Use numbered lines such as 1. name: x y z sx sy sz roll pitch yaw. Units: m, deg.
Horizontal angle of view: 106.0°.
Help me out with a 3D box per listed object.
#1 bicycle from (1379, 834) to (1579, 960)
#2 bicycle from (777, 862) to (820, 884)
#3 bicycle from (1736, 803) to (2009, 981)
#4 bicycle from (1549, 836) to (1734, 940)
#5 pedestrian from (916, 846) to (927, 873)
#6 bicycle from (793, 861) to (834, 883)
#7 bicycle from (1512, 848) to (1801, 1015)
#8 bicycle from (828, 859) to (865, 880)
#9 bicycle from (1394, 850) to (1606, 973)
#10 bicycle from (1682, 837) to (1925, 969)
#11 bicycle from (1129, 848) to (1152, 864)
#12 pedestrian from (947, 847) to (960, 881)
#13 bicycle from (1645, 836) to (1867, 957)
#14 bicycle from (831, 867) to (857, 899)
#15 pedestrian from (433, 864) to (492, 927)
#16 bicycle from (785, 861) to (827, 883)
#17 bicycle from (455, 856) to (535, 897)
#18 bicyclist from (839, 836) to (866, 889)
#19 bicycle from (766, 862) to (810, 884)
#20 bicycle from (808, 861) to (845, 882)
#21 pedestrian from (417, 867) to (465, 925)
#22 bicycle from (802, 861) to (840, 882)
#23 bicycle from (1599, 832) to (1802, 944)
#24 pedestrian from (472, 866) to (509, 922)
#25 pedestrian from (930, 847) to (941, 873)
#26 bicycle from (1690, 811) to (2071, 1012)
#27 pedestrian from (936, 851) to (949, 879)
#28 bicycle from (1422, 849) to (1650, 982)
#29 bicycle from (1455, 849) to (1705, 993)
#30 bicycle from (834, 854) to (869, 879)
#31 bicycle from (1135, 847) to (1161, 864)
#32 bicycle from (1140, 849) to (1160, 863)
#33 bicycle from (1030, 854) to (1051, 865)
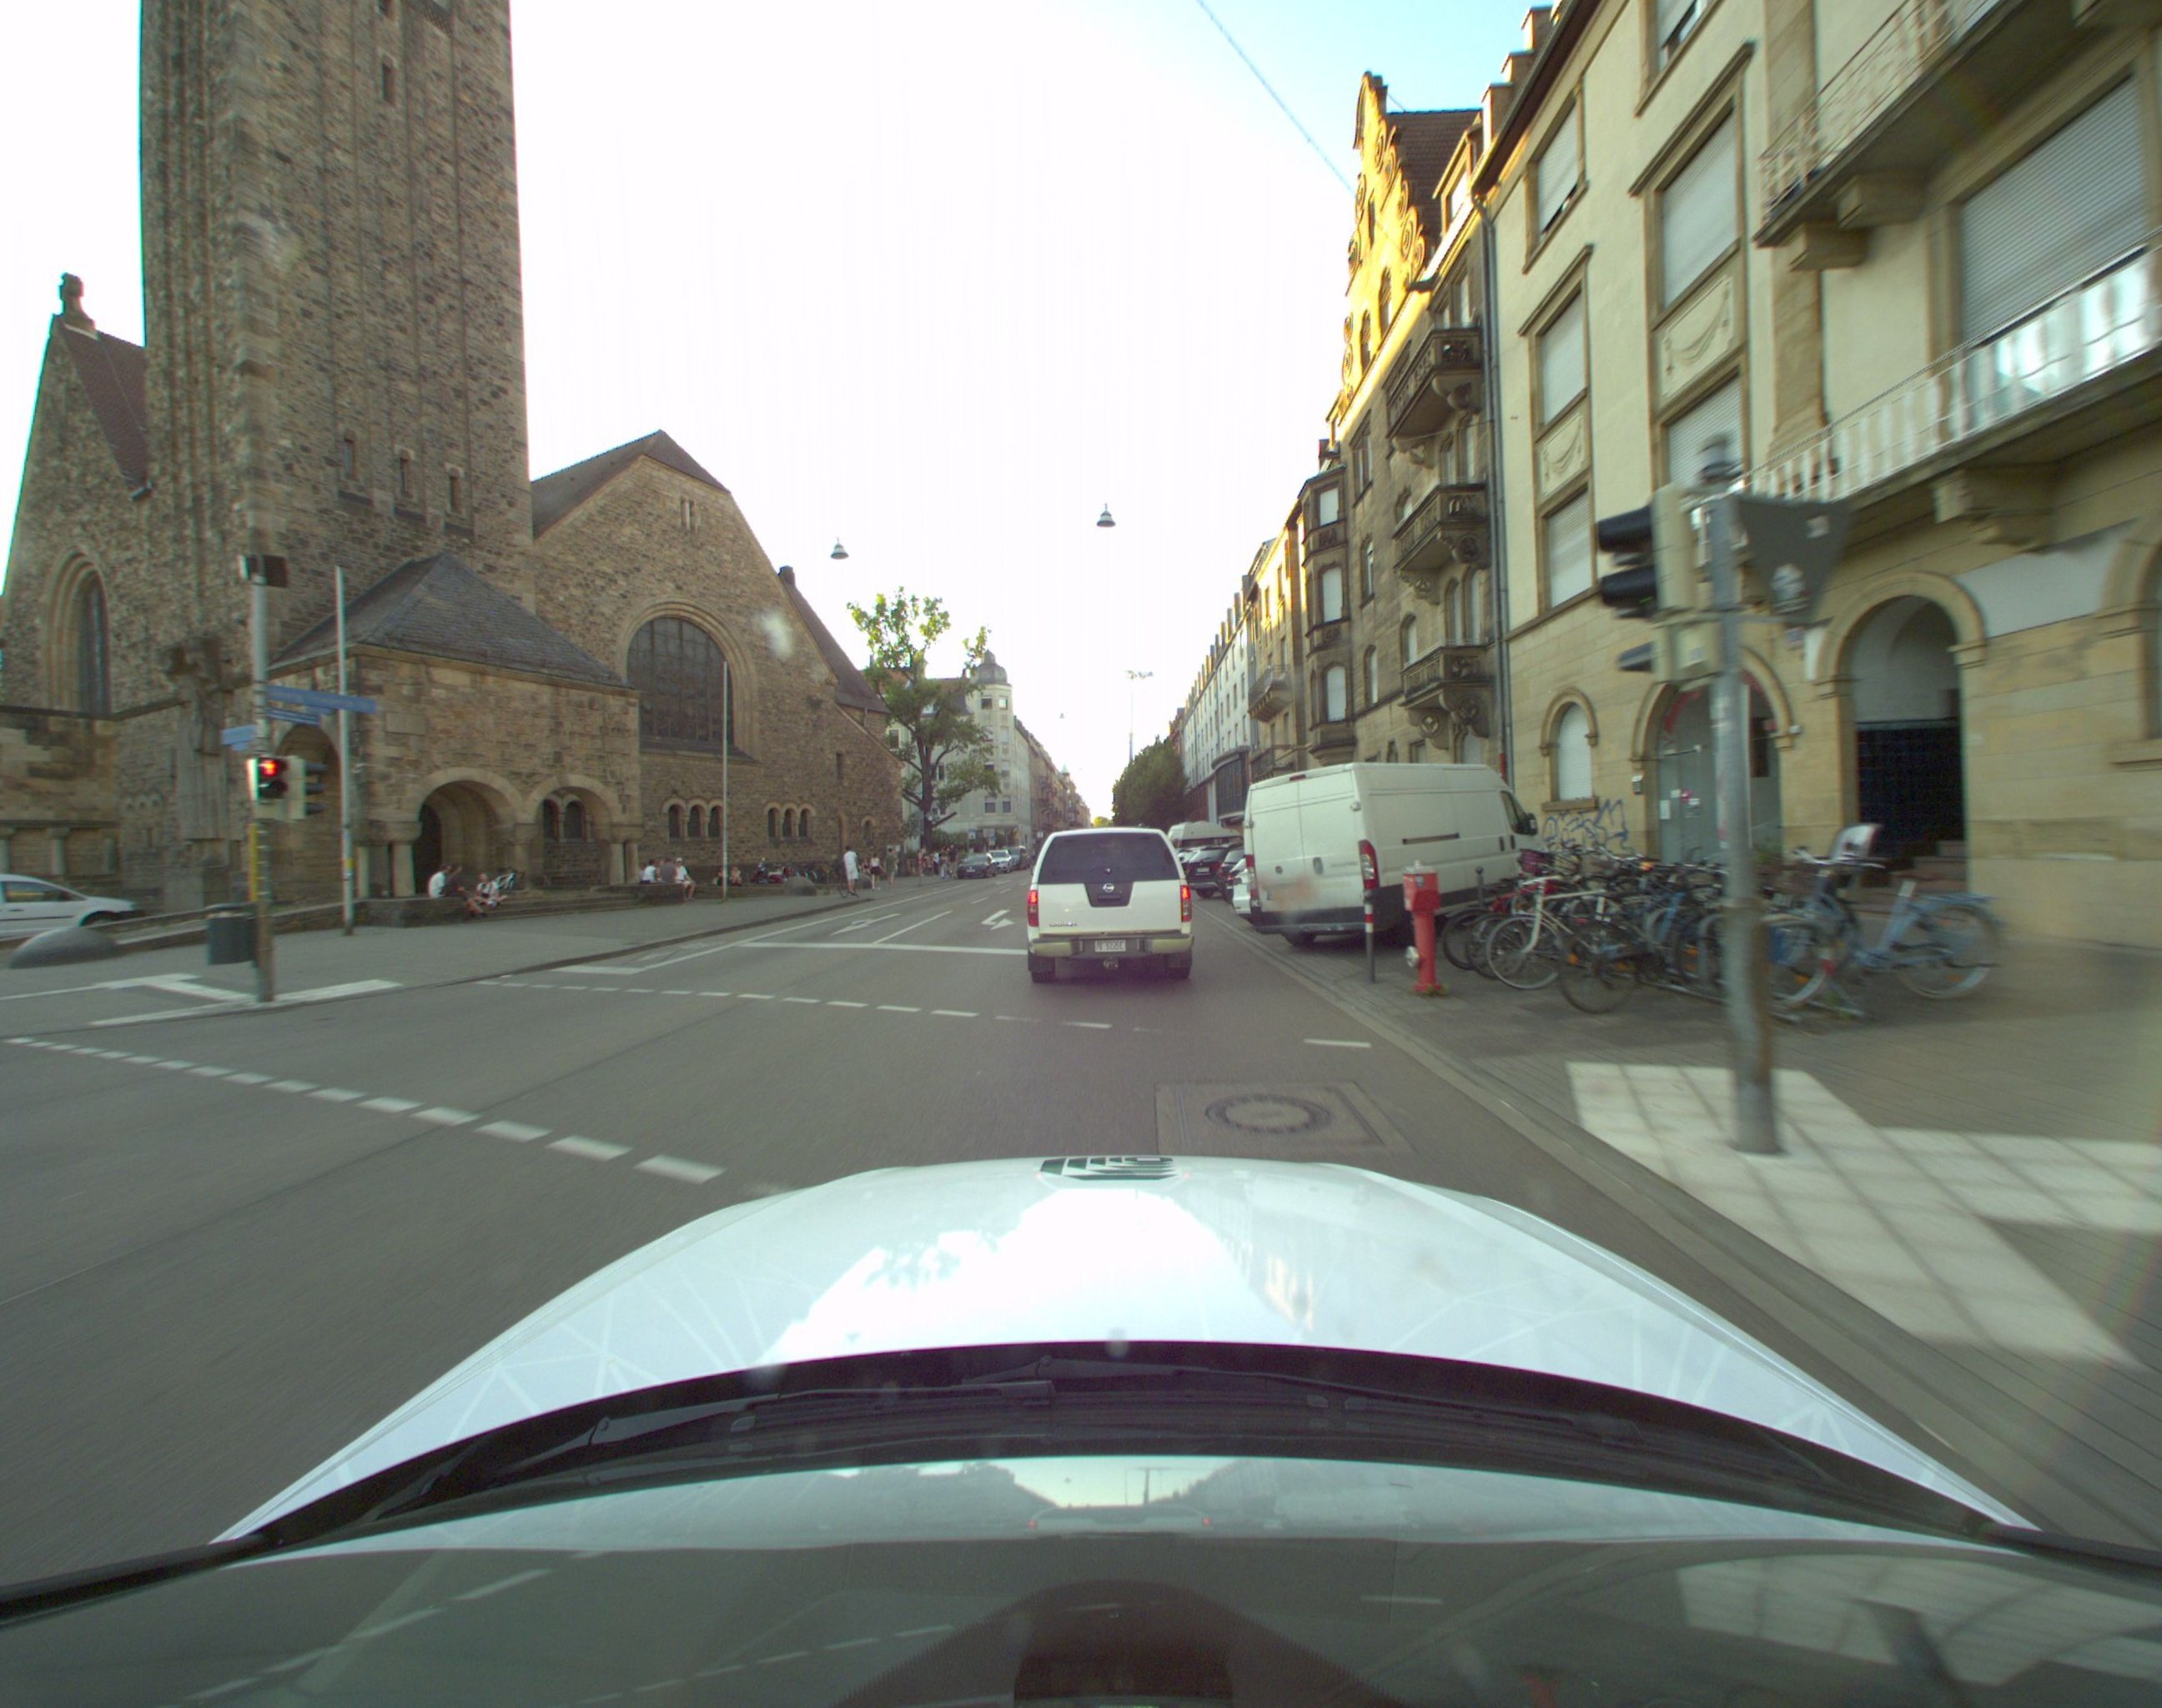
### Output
1. bicycle: 4.521 0.469 9.288 1.994 1.204 0.540 -5 1 -7
2. bicycle: -13.544 0.908 39.057 1.986 0.989 0.468 -2 0 17
3. bicycle: 6.628 0.298 6.856 1.769 1.273 0.541 -5 1 -4
4. bicycle: 6.502 0.375 9.482 1.769 1.009 0.541 -5 1 -4
5. pedestrian: -9.914 0.363 50.653 0.417 1.674 0.542 -2 0 -38
6. bicycle: -13.121 0.881 40.000 1.968 0.989 0.468 -2 0 17
7. bicycle: 4.612 0.585 6.562 1.994 1.087 0.540 -5 1 -7
8. bicycle: -12.112 0.814 42.092 1.863 0.989 0.443 -2 0 17
9. bicycle: 4.472 0.587 8.719 1.994 1.087 0.540 -5 1 -7
10. bicycle: 6.627 0.431 7.502 1.769 1.009 0.541 -5 1 -4
11. bicycle: 4.705 0.138 64.570 1.702 1.176 0.472 -4 0 0
12. pedestrian: -7.312 0.562 46.708 0.580 1.905 0.803 -2 0 -1
13. bicycle: 6.718 0.406 8.135 1.769 1.009 0.541 -5 1 -4
14. bicycle: -8.460 1.018 29.112 0.551 1.012 2.182 -1 0 -7
15. pedestrian: -15.023 0.991 19.800 0.622 1.453 0.921 -2 0 28
16. bicycle: -13.336 0.898 39.528 1.986 0.989 0.468 -2 0 17
17. bicycle: -16.356 0.635 22.716 2.260 1.057 0.598 -2 0 20
18. bicyclist: -8.158 0.293 29.123 0.704 1.880 0.941 -1 0 -3
19. bicycle: -13.821 0.898 38.441 1.986 0.989 0.588 1 1 17
20. bicycle: -12.785 0.872 40.873 1.864 0.989 0.372 -2 0 17
21. pedestrian: -15.745 1.022 20.038 0.793 1.374 0.704 -2 0 36
22. bicycle: -12.923 0.881 40.431 1.863 0.989 0.372 -2 0 17
23. bicycle: 6.663 0.346 8.788 1.769 1.009 0.541 -5 1 -4
24. pedestrian: -15.089 1.013 20.802 0.702 1.374 0.794 -2 0 -37
25. pedestrian: -9.126 0.384 51.054 0.417 1.622 0.542 -2 0 -38
26. bicycle: 5.644 0.390 5.831 1.988 1.201 0.646 -5 0 1
27. pedestrian: -7.963 0.622 46.695 0.580 1.552 0.839 -1 0 -1
28. bicycle: 4.532 0.583 8.145 1.994 1.087 0.540 -5 1 -7
29. bicycle: 4.575 0.584 7.502 1.994 1.087 0.540 -5 1 -7
30. bicycle: -12.012 0.669 42.572 1.715 1.248 0.439 -2 0 16
31. bicycle: 5.229 0.122 63.633 1.852 1.146 0.659 -5 0 1
32. bicycle: 5.503 0.148 65.104 1.534 1.038 0.472 -4 0 0
33. bicycle: -4.219 0.613 84.528 2.090 1.094 0.504 -1 2 27
